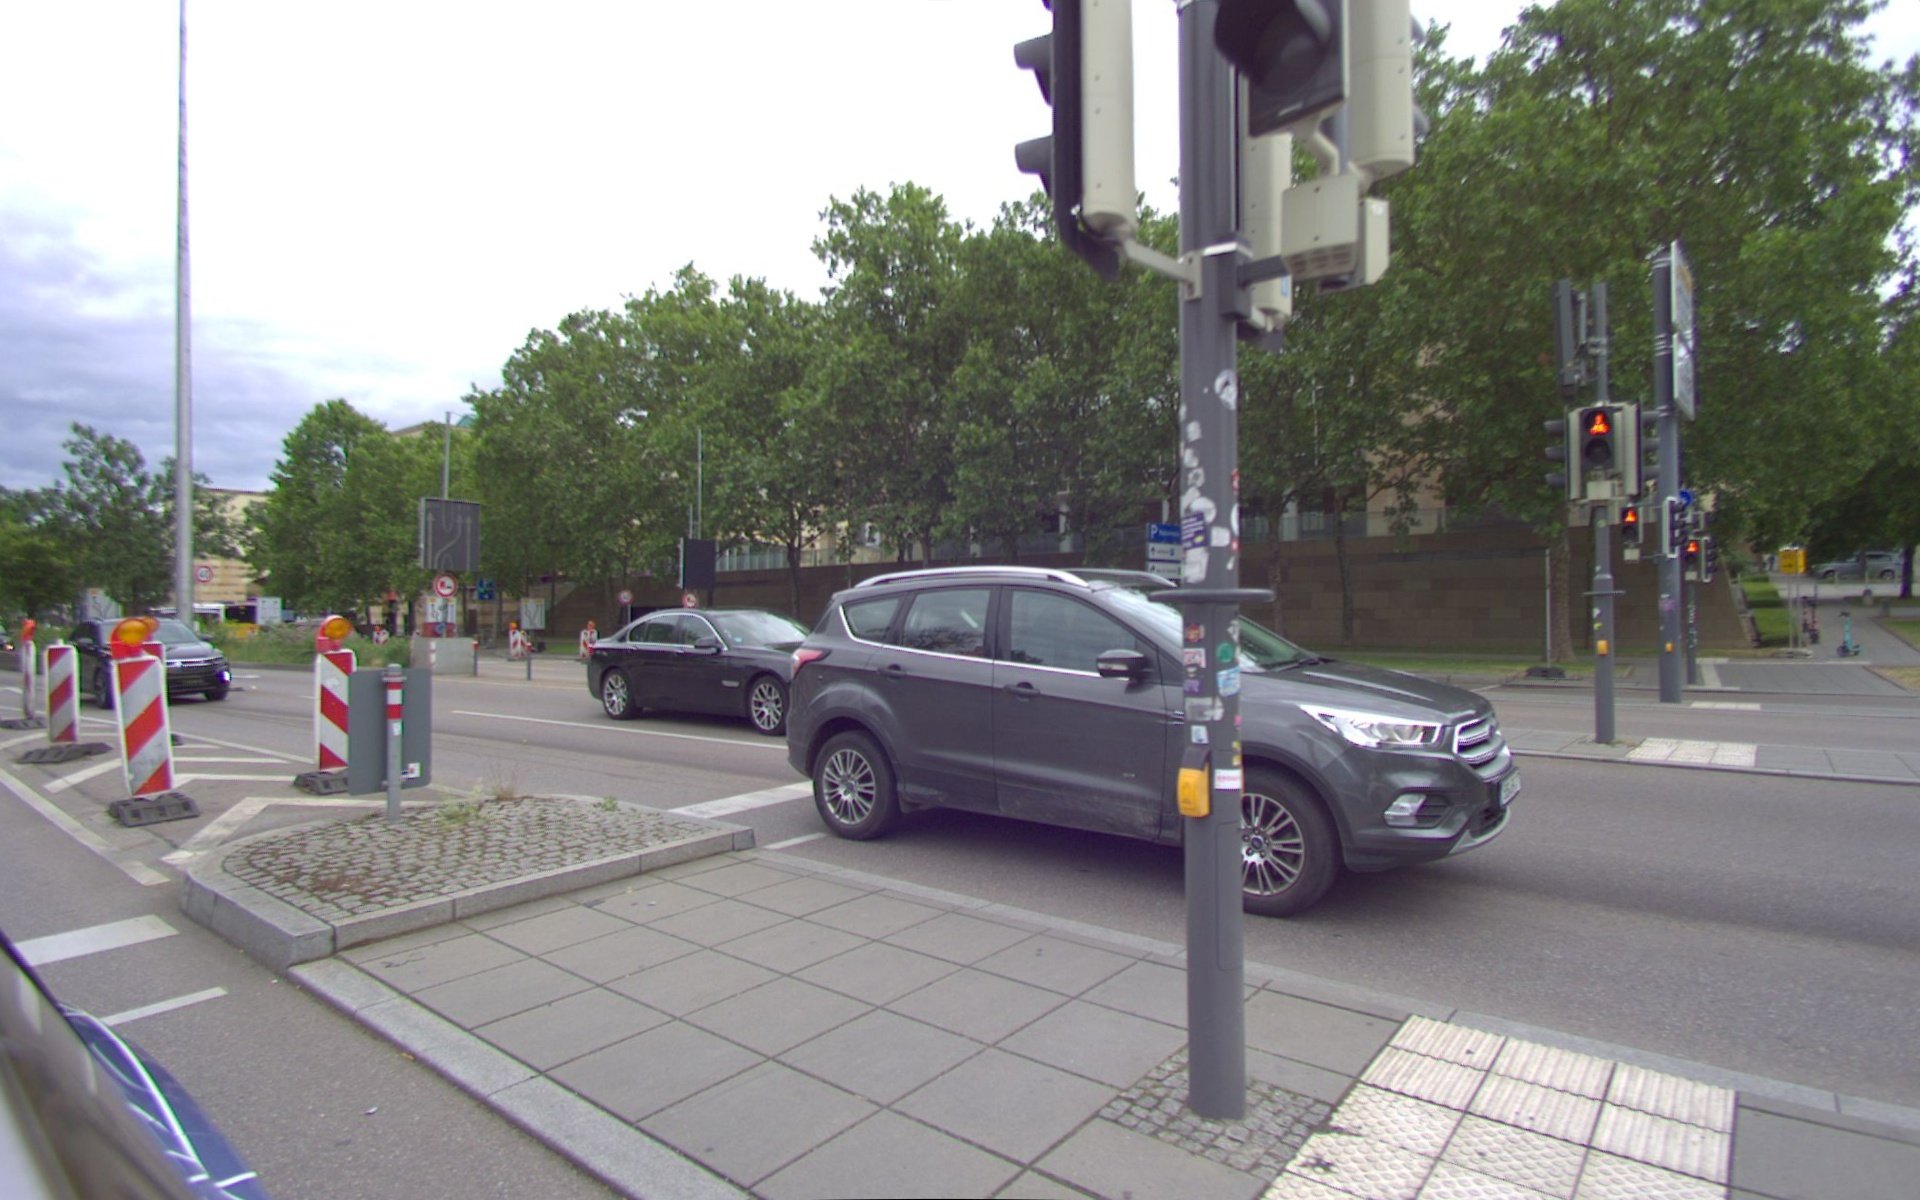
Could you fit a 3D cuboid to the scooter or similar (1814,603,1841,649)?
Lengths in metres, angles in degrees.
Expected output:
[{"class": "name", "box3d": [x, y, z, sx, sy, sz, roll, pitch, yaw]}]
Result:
[{"class": "scooter or similar", "box3d": [26.338, 0.790, 30.734, 0.537, 1.351, 1.400, -2, -2, 39]}]

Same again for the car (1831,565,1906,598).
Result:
[{"class": "car", "box3d": [60.983, -1.214, 68.032, 3.681, 2.029, 1.567, -2, -2, 41]}]

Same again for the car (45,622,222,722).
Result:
[{"class": "car", "box3d": [-14.907, 1.190, 18.171, 4.150, 1.527, 1.745, -1, 0, 41]}]

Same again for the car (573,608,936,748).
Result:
[{"class": "car", "box3d": [-2.786, 0.896, 13.082, 4.803, 1.494, 1.974, -2, -1, 38]}]

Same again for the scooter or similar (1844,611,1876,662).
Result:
[{"class": "scooter or similar", "box3d": [24.266, 0.964, 27.294, 0.537, 1.351, 1.400, -2, -2, 39]}]

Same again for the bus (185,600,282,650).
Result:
[{"class": "bus", "box3d": [-51.930, 1.773, 72.228, 10.436, 3.330, 2.884, -1, -2, 39]}]

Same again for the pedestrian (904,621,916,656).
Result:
[{"class": "pedestrian", "box3d": [-2.352, 1.808, 47.565, 0.442, 1.619, 0.351, -1, 1, 33]}]

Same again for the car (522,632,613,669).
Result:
[{"class": "car", "box3d": [-15.859, 2.022, 40.826, 3.997, 1.383, 1.708, -2, -2, 40]}]

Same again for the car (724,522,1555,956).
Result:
[{"class": "car", "box3d": [0.826, 0.605, 6.198, 4.650, 1.728, 1.876, -2, -1, 37]}]

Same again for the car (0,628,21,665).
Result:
[{"class": "car", "box3d": [-41.240, 1.939, 42.463, 4.803, 1.494, 1.974, -2, -1, 38]}]
